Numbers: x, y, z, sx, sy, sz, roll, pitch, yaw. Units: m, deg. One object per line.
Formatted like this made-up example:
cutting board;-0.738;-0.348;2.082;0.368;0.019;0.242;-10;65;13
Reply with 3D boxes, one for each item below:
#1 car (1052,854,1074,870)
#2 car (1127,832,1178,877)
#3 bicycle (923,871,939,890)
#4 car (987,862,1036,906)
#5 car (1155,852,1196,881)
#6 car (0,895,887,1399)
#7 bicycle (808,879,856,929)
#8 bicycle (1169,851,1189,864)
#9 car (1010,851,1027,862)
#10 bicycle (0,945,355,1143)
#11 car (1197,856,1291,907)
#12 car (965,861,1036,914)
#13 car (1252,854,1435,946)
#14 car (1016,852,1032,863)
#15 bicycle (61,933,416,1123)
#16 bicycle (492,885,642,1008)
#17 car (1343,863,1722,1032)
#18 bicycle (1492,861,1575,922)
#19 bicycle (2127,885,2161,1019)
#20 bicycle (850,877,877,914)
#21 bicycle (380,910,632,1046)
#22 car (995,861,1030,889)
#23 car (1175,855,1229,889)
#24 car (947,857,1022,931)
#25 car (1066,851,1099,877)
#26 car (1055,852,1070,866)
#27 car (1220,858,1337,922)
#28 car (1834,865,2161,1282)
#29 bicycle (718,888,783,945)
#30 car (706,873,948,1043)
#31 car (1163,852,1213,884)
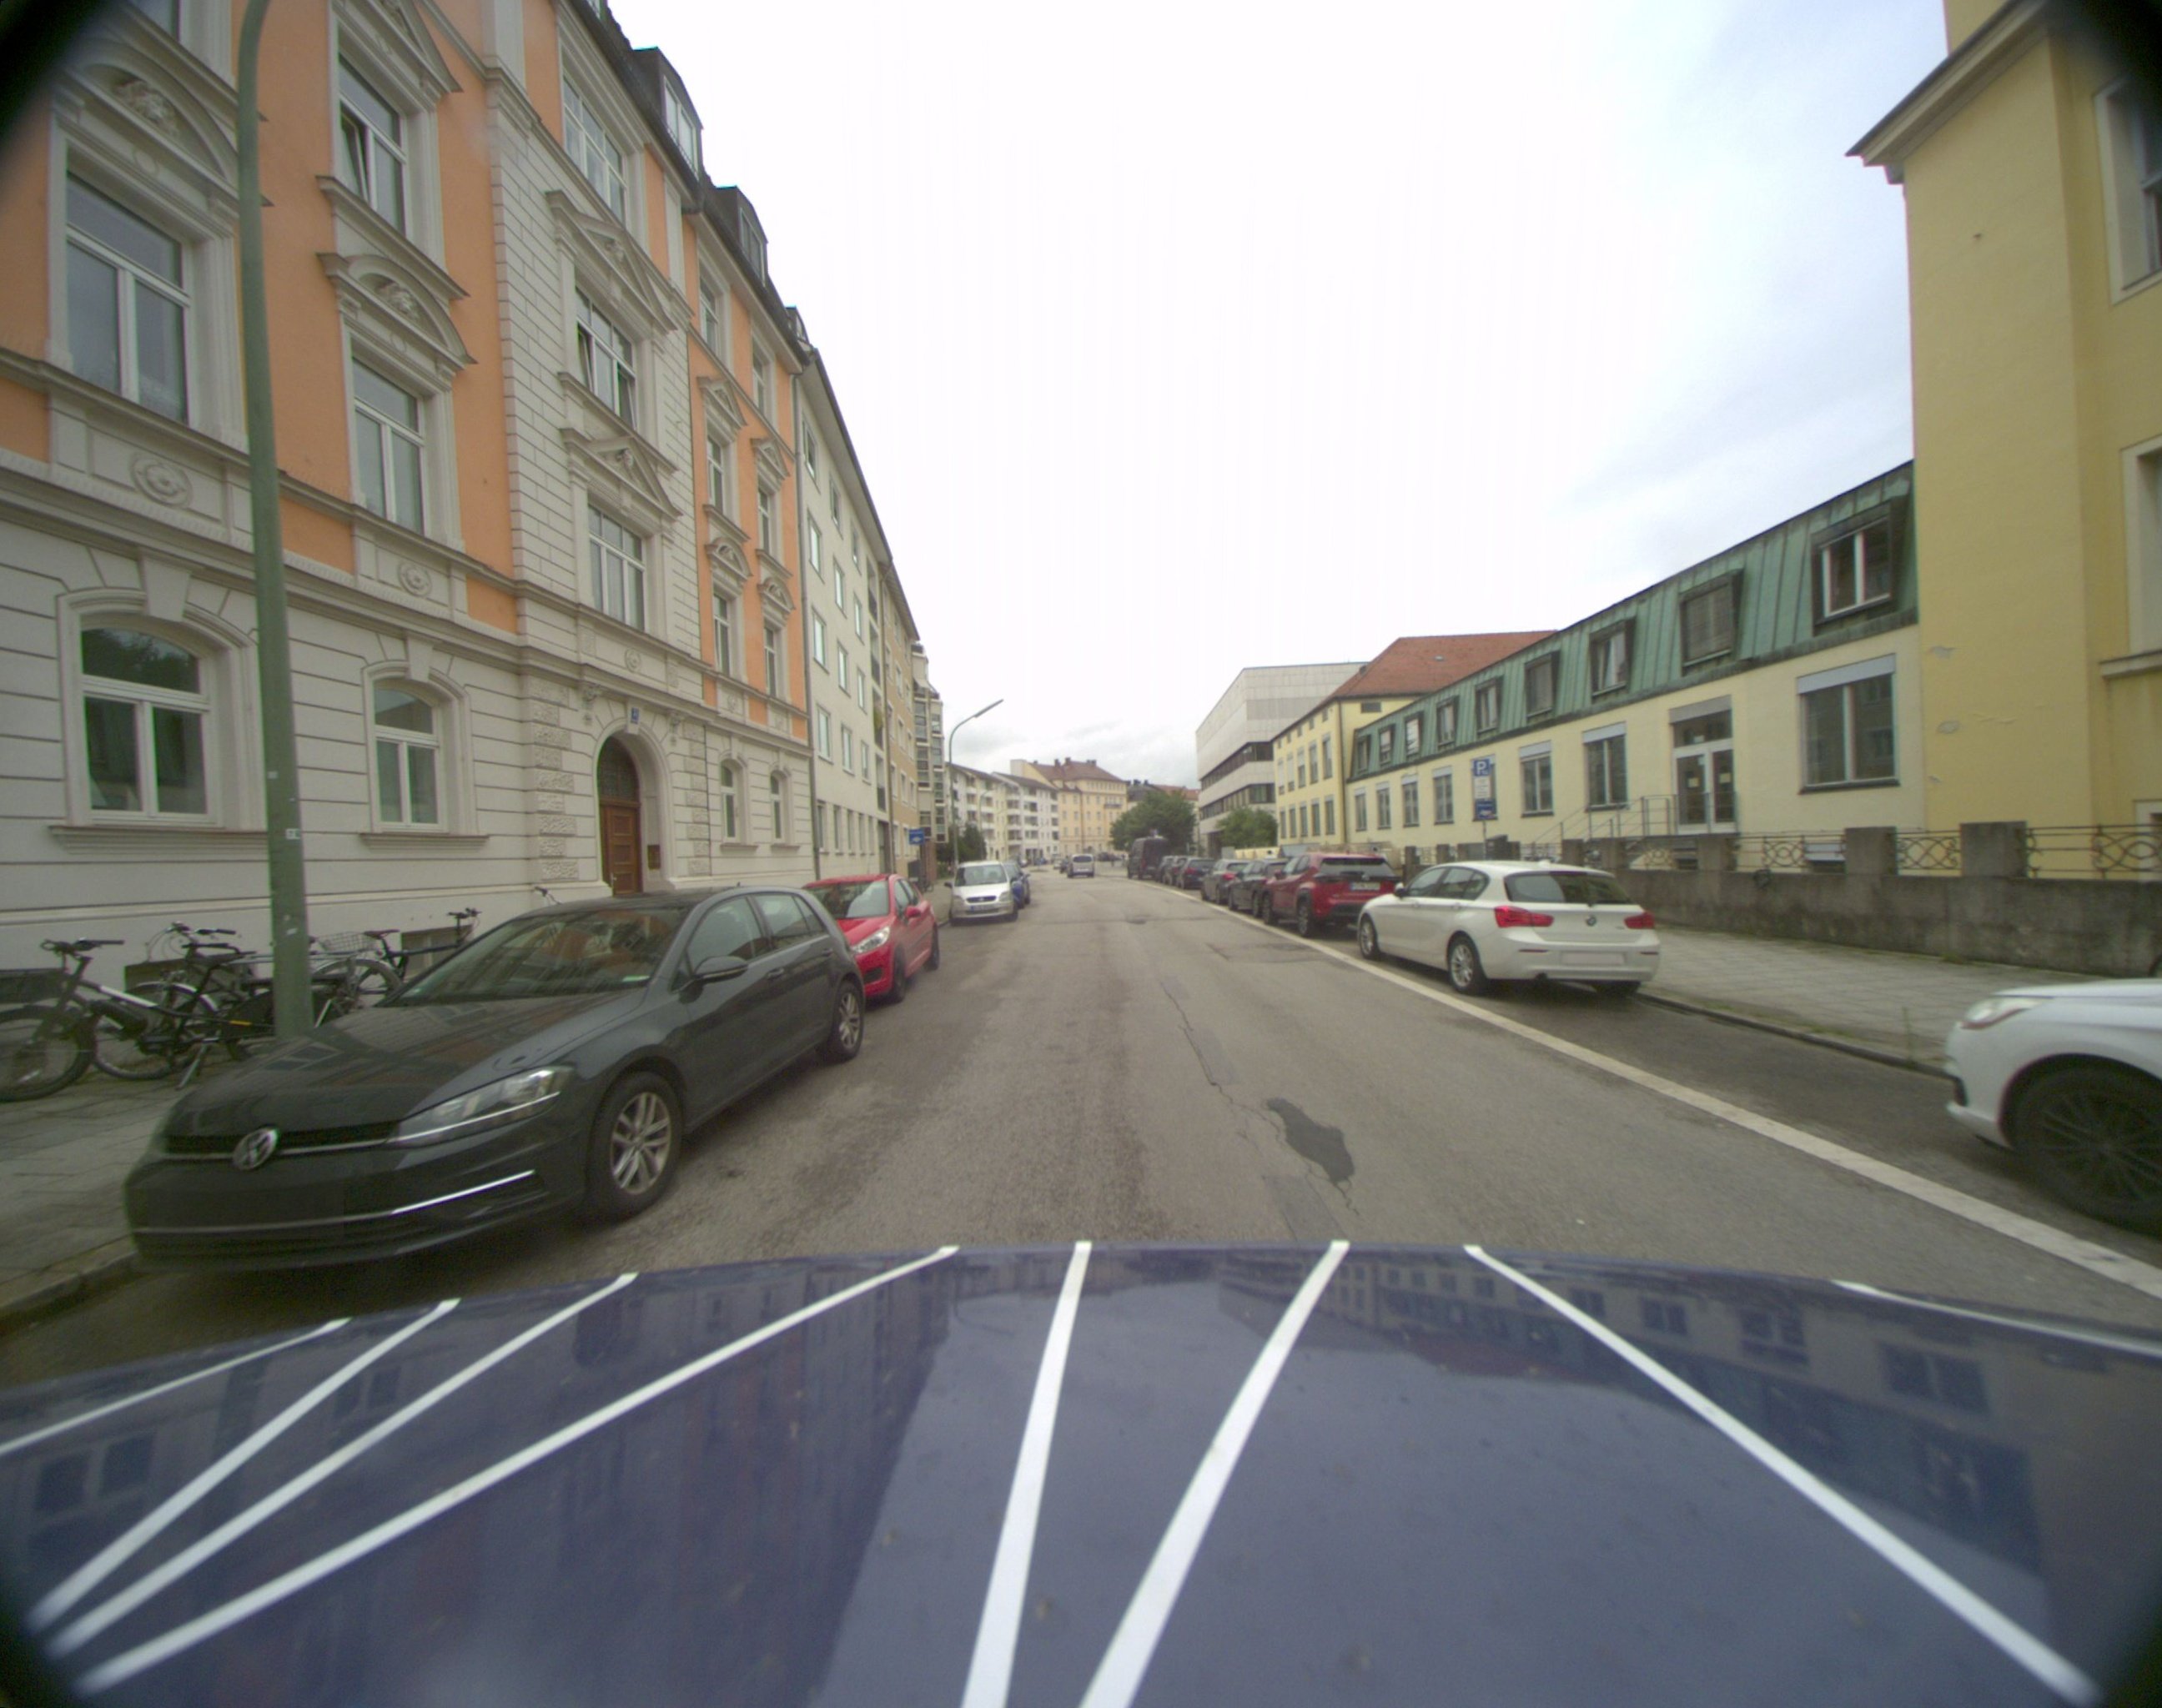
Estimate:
car;-1.856;0.796;76.737;1.666;1.466;3.704;-3;2;-8
car;4.719;0.041;51.216;2.219;2.837;6.192;0;0;-6
bicycle;-8.807;1.550;44.710;0.678;1.027;1.752;-2;0;-5
car;-2.794;1.143;30.588;1.710;1.446;4.400;-6;0;-5
car;5.496;0.689;44.683;1.885;1.626;4.348;0;0;0
car;-2.742;1.103;4.699;1.691;1.393;4.365;-3;0;3
bicycle;-6.253;1.227;19.177;0.725;1.106;1.993;-3;0;-7
bicycle;9.420;0.374;72.878;1.815;1.145;0.519;-3;1;-1
car;-9.681;0.433;117.802;1.998;1.587;4.000;-3;0;3
bicycle;-6.559;1.298;5.479;1.851;1.061;0.514;-2;1;-41
car;5.141;0.823;24.623;2.019;1.410;4.614;0;1;-1
car;-2.634;1.055;25.794;1.746;1.486;4.548;-3;0;1
car;4.889;0.774;14.926;1.963;1.473;4.528;0;1;-1
car;-9.432;0.527;125.923;1.998;1.630;4.000;-3;0;2
bicycle;-6.609;1.280;6.077;0.620;1.083;1.818;-2;1;36
bicycle;-6.812;1.158;10.221;0.597;1.377;2.091;-2;0;-2
car;4.901;0.882;9.236;1.798;1.421;4.664;1;1;0
bicycle;9.737;0.763;16.453;0.536;1.178;2.106;-3;1;1
bicycle;9.033;0.790;5.496;0.576;1.056;1.639;-3;1;-7
bicycle;-7.034;1.331;24.635;0.530;1.065;1.999;-3;0;-9
bicycle;-6.163;1.267;8.258;2.096;1.132;0.583;-2;0;-42
car;-4.067;1.183;44.858;1.859;1.406;5.012;-3;0;-6
car;5.565;0.784;35.413;1.918;1.473;4.532;0;0;2
car;-2.566;0.978;20.500;1.686;1.664;3.802;-4;1;-6
car;0.063;0.770;59.298;1.921;1.837;5.318;-3;0;-6
car;-2.488;0.662;100.513;1.797;1.663;4.148;-3;0;-2
car;4.928;0.836;19.587;1.754;1.397;4.353;0;0;-2
car;4.818;0.838;1.654;1.789;1.423;4.652;-3;1;1
bicycle;-6.885;1.281;15.913;0.597;1.018;1.817;-2;0;-2
car;-2.923;1.099;9.746;1.691;1.491;4.146;-5;0;-1
car;5.597;0.719;40.176;1.918;1.578;4.352;1;-1;-1
